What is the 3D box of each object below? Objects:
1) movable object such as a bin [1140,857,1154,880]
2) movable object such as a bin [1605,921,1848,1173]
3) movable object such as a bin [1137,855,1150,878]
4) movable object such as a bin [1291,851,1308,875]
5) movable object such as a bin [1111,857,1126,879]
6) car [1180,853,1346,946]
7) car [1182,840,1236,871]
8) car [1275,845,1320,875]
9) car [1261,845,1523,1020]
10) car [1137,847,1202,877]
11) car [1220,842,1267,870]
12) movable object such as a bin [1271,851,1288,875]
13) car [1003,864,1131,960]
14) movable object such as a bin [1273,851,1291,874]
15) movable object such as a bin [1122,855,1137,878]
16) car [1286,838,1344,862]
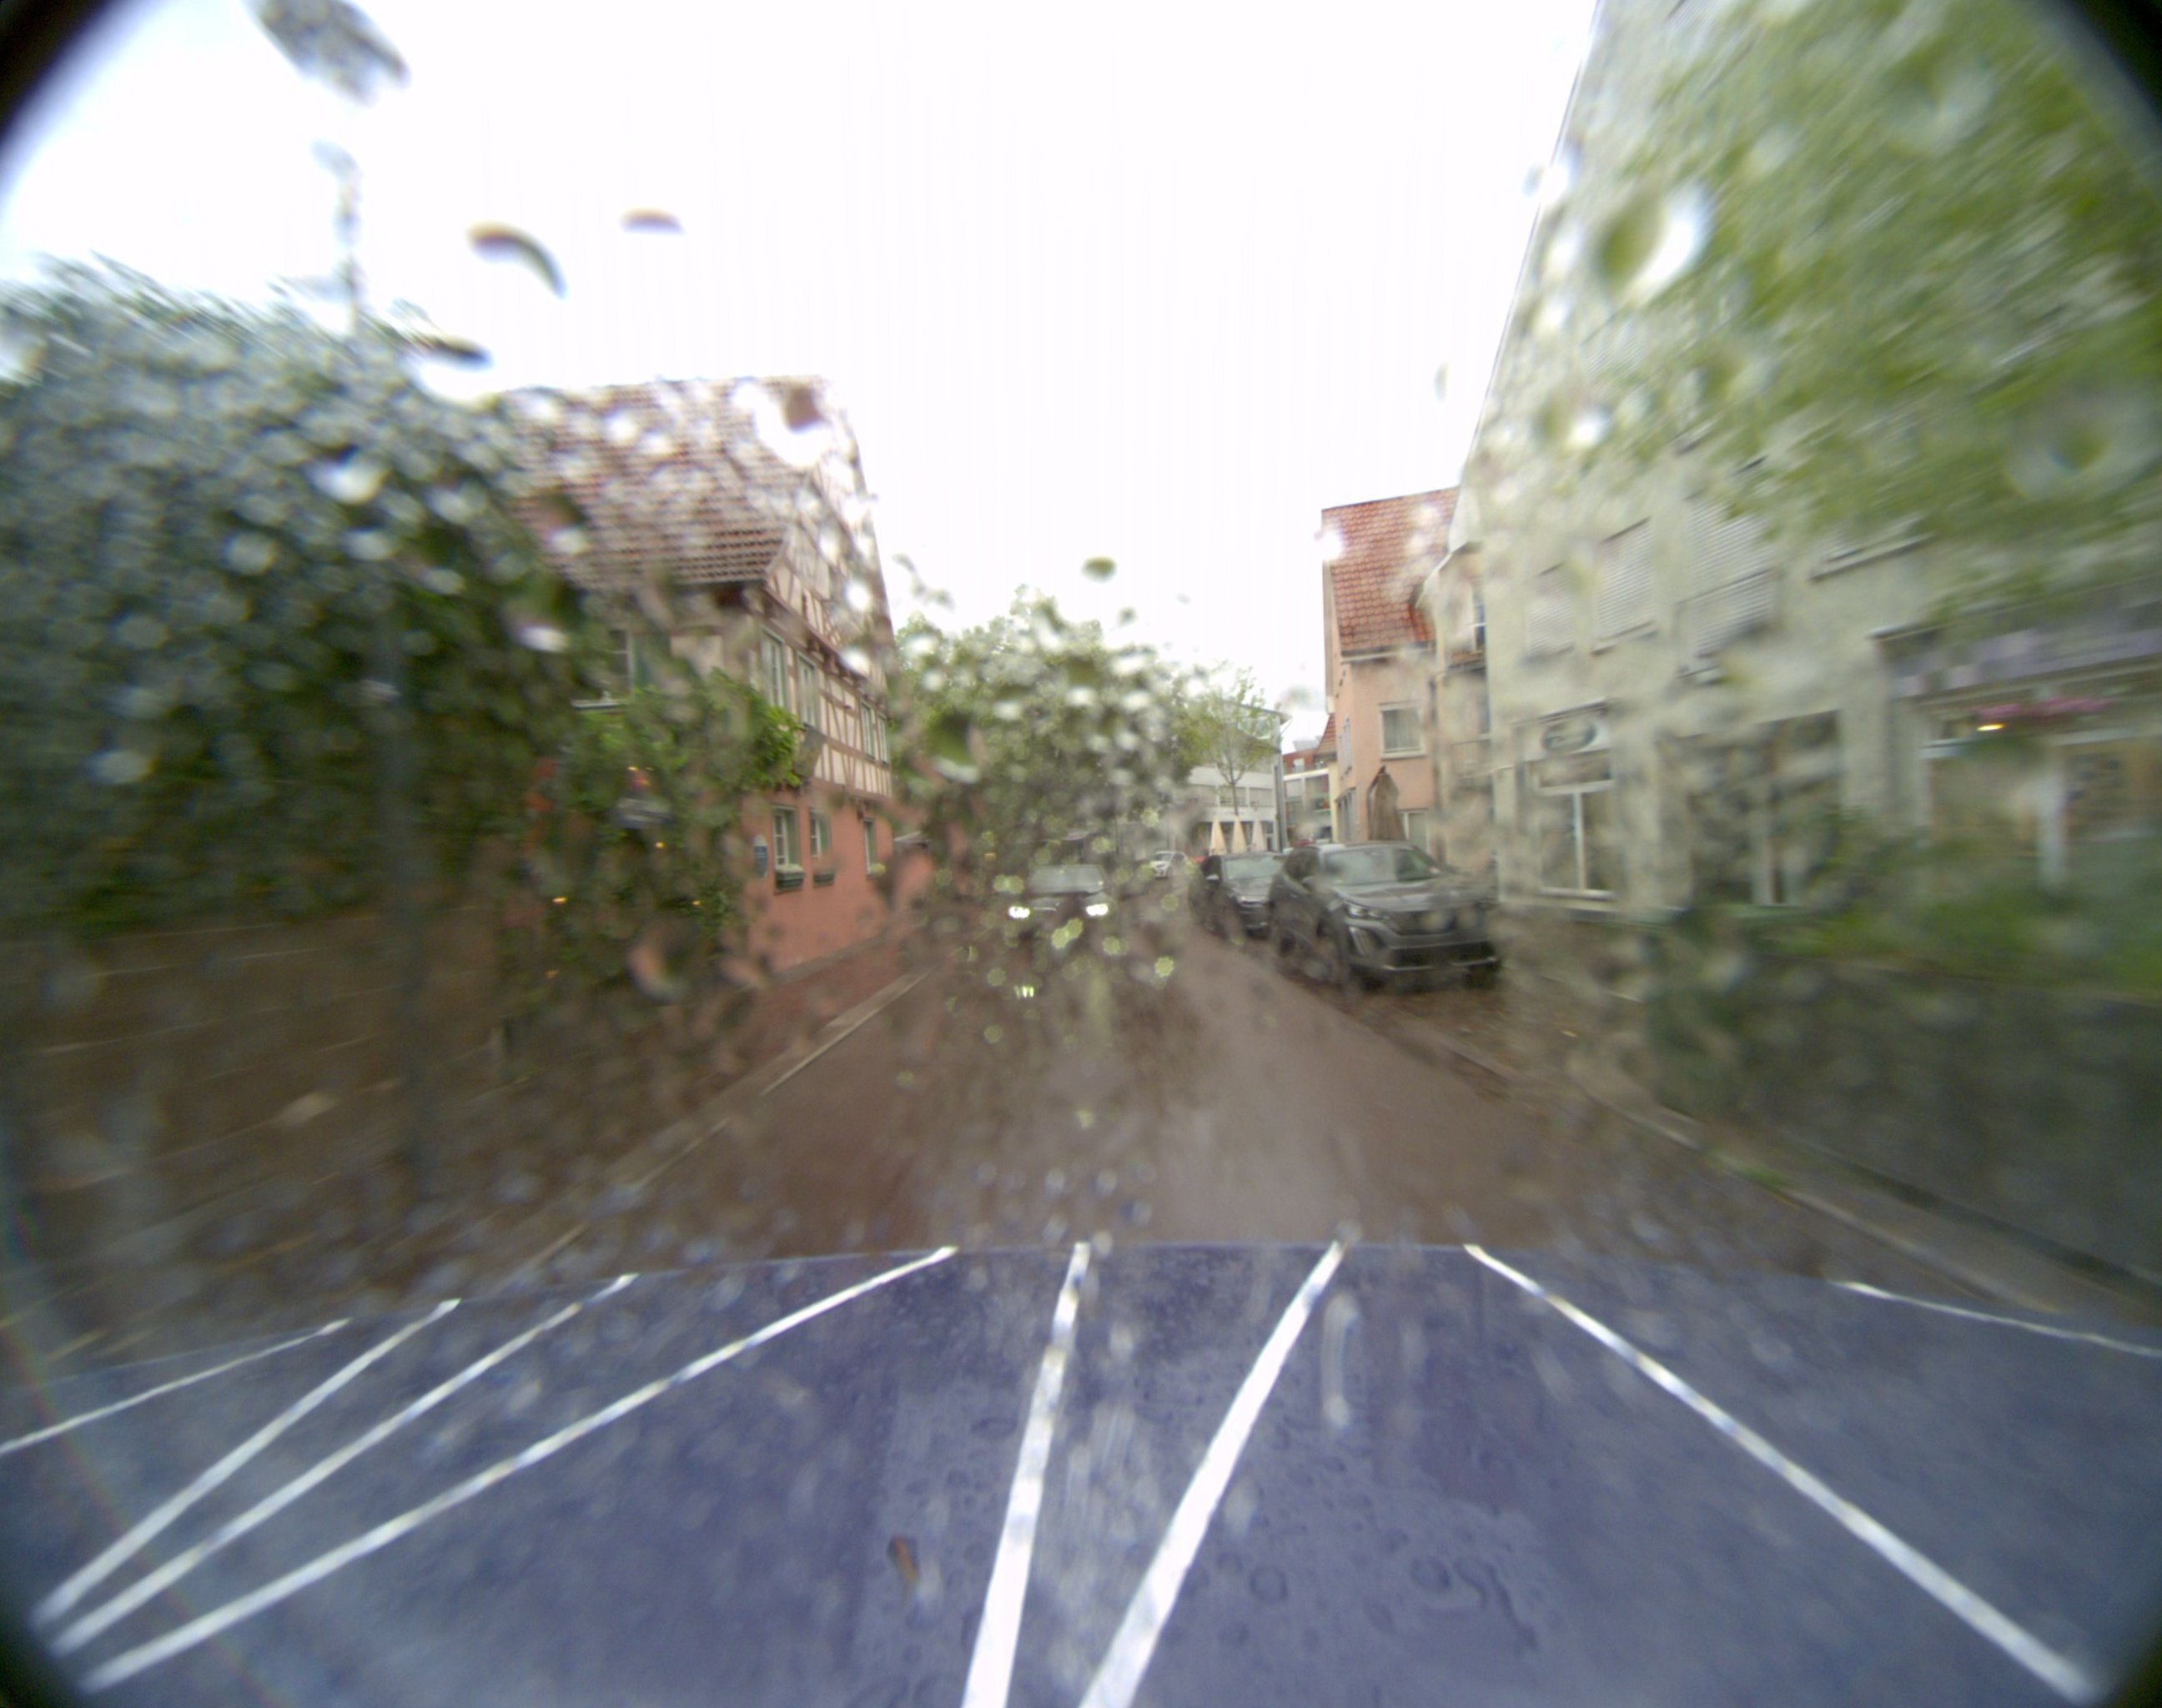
[{"bbox_3d":[3.459,0.766,40.019,0.534,1.143,0.501,-2,2,27],"label":"movable object such as a bin"},{"bbox_3d":[3.251,0.934,3.895,0.622,1.073,0.725,-3,2,2],"label":"movable object such as a bin"},{"bbox_3d":[3.277,0.650,39.580,0.477,1.162,0.489,-2,2,27],"label":"movable object such as a bin"},{"bbox_3d":[10.475,0.451,36.401,0.660,1.103,0.624,-2,2,28],"label":"movable object such as a bin"},{"bbox_3d":[1.994,0.755,40.346,0.504,1.143,0.581,-2,2,27],"label":"movable object such as a bin"},{"bbox_3d":[3.309,0.774,14.840,1.806,1.424,4.626,-3,0,-4],"label":"car"},{"bbox_3d":[8.005,0.082,47.328,1.691,1.680,3.964,-2,2,35],"label":"car"},{"bbox_3d":[11.757,0.307,41.121,1.691,1.415,3.822,-2,1,25],"label":"car"},{"bbox_3d":[3.411,0.725,9.165,1.596,1.537,3.976,-3,1,2],"label":"car"},{"bbox_3d":[5.051,0.433,42.871,1.691,1.530,4.412,-2,0,35],"label":"car"},{"bbox_3d":[11.115,0.119,51.887,1.691,1.680,4.285,-2,2,32],"label":"car"},{"bbox_3d":[9.622,0.429,36.836,0.660,1.103,0.624,-2,2,28],"label":"movable object such as a bin"},{"bbox_3d":[-0.402,0.958,14.656,1.999,1.398,4.891,-3,0,-4],"label":"car"},{"bbox_3d":[9.952,0.403,37.601,0.692,1.080,0.547,-4,1,28],"label":"movable object such as a bin"},{"bbox_3d":[2.587,0.658,40.135,0.545,1.143,0.586,-2,2,27],"label":"movable object such as a bin"},{"bbox_3d":[16.267,-0.311,52.821,4.007,1.445,1.994,-4,2,-41],"label":"car"}]
